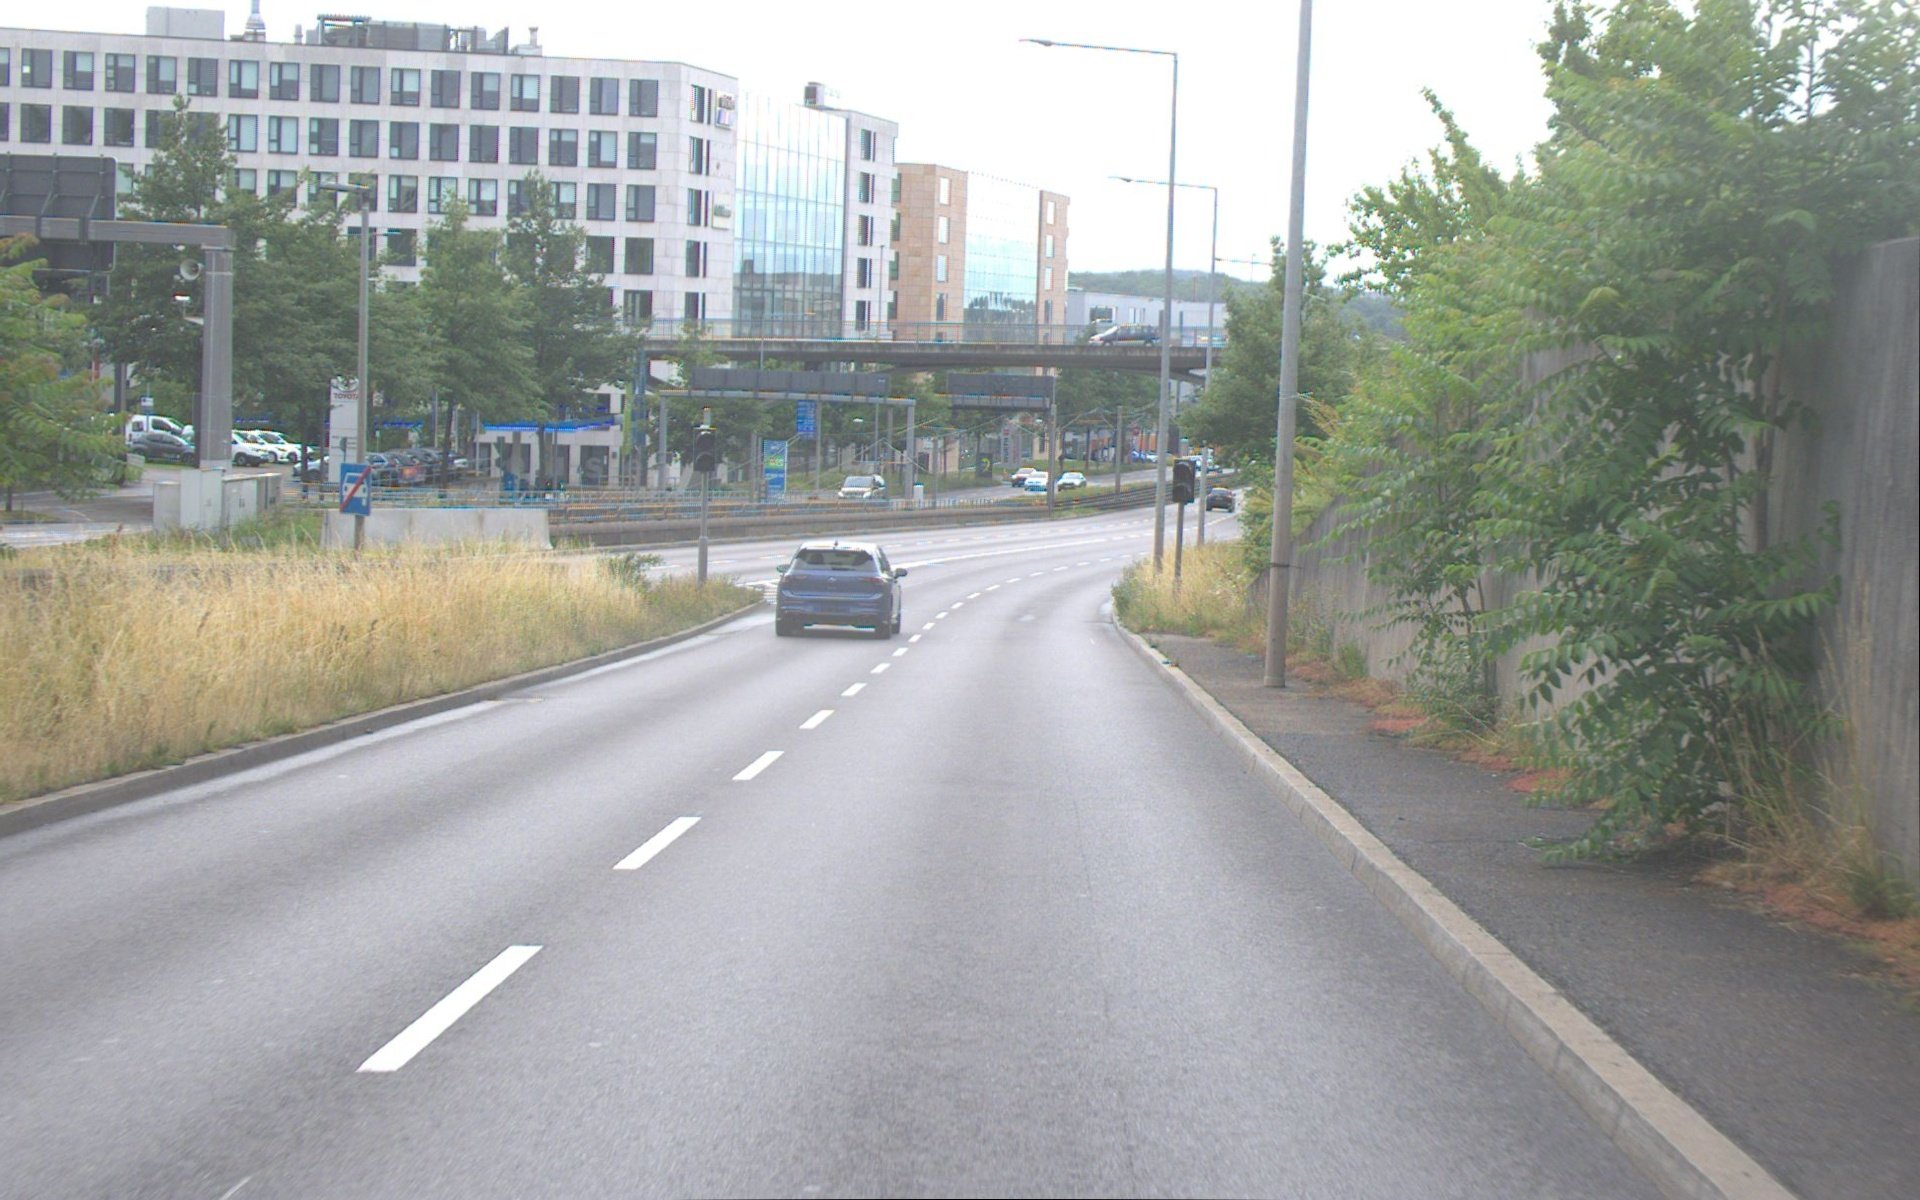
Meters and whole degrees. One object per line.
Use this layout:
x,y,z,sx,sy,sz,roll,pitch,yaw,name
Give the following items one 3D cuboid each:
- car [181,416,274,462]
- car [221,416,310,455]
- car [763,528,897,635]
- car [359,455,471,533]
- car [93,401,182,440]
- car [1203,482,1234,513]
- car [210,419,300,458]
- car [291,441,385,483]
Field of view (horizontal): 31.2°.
-36.433,-8.011,170.963,3.990,1.869,1.999,6,5,14,car
-36.126,-8.579,178.937,3.990,1.645,1.999,6,5,14,car
-1.961,-0.309,52.860,1.749,1.415,3.478,-1,4,3,car
-13.300,-2.618,84.109,1.688,1.584,3.549,5,5,7,car
-42.337,-9.242,177.013,3.988,1.645,1.821,5,5,6,car
17.523,-6.978,232.788,1.863,1.743,4.000,5,5,5,car
-36.161,-8.294,176.370,3.990,1.645,1.999,6,5,14,car
-29.338,-6.515,162.074,3.985,1.645,2.001,3,3,-21,car
